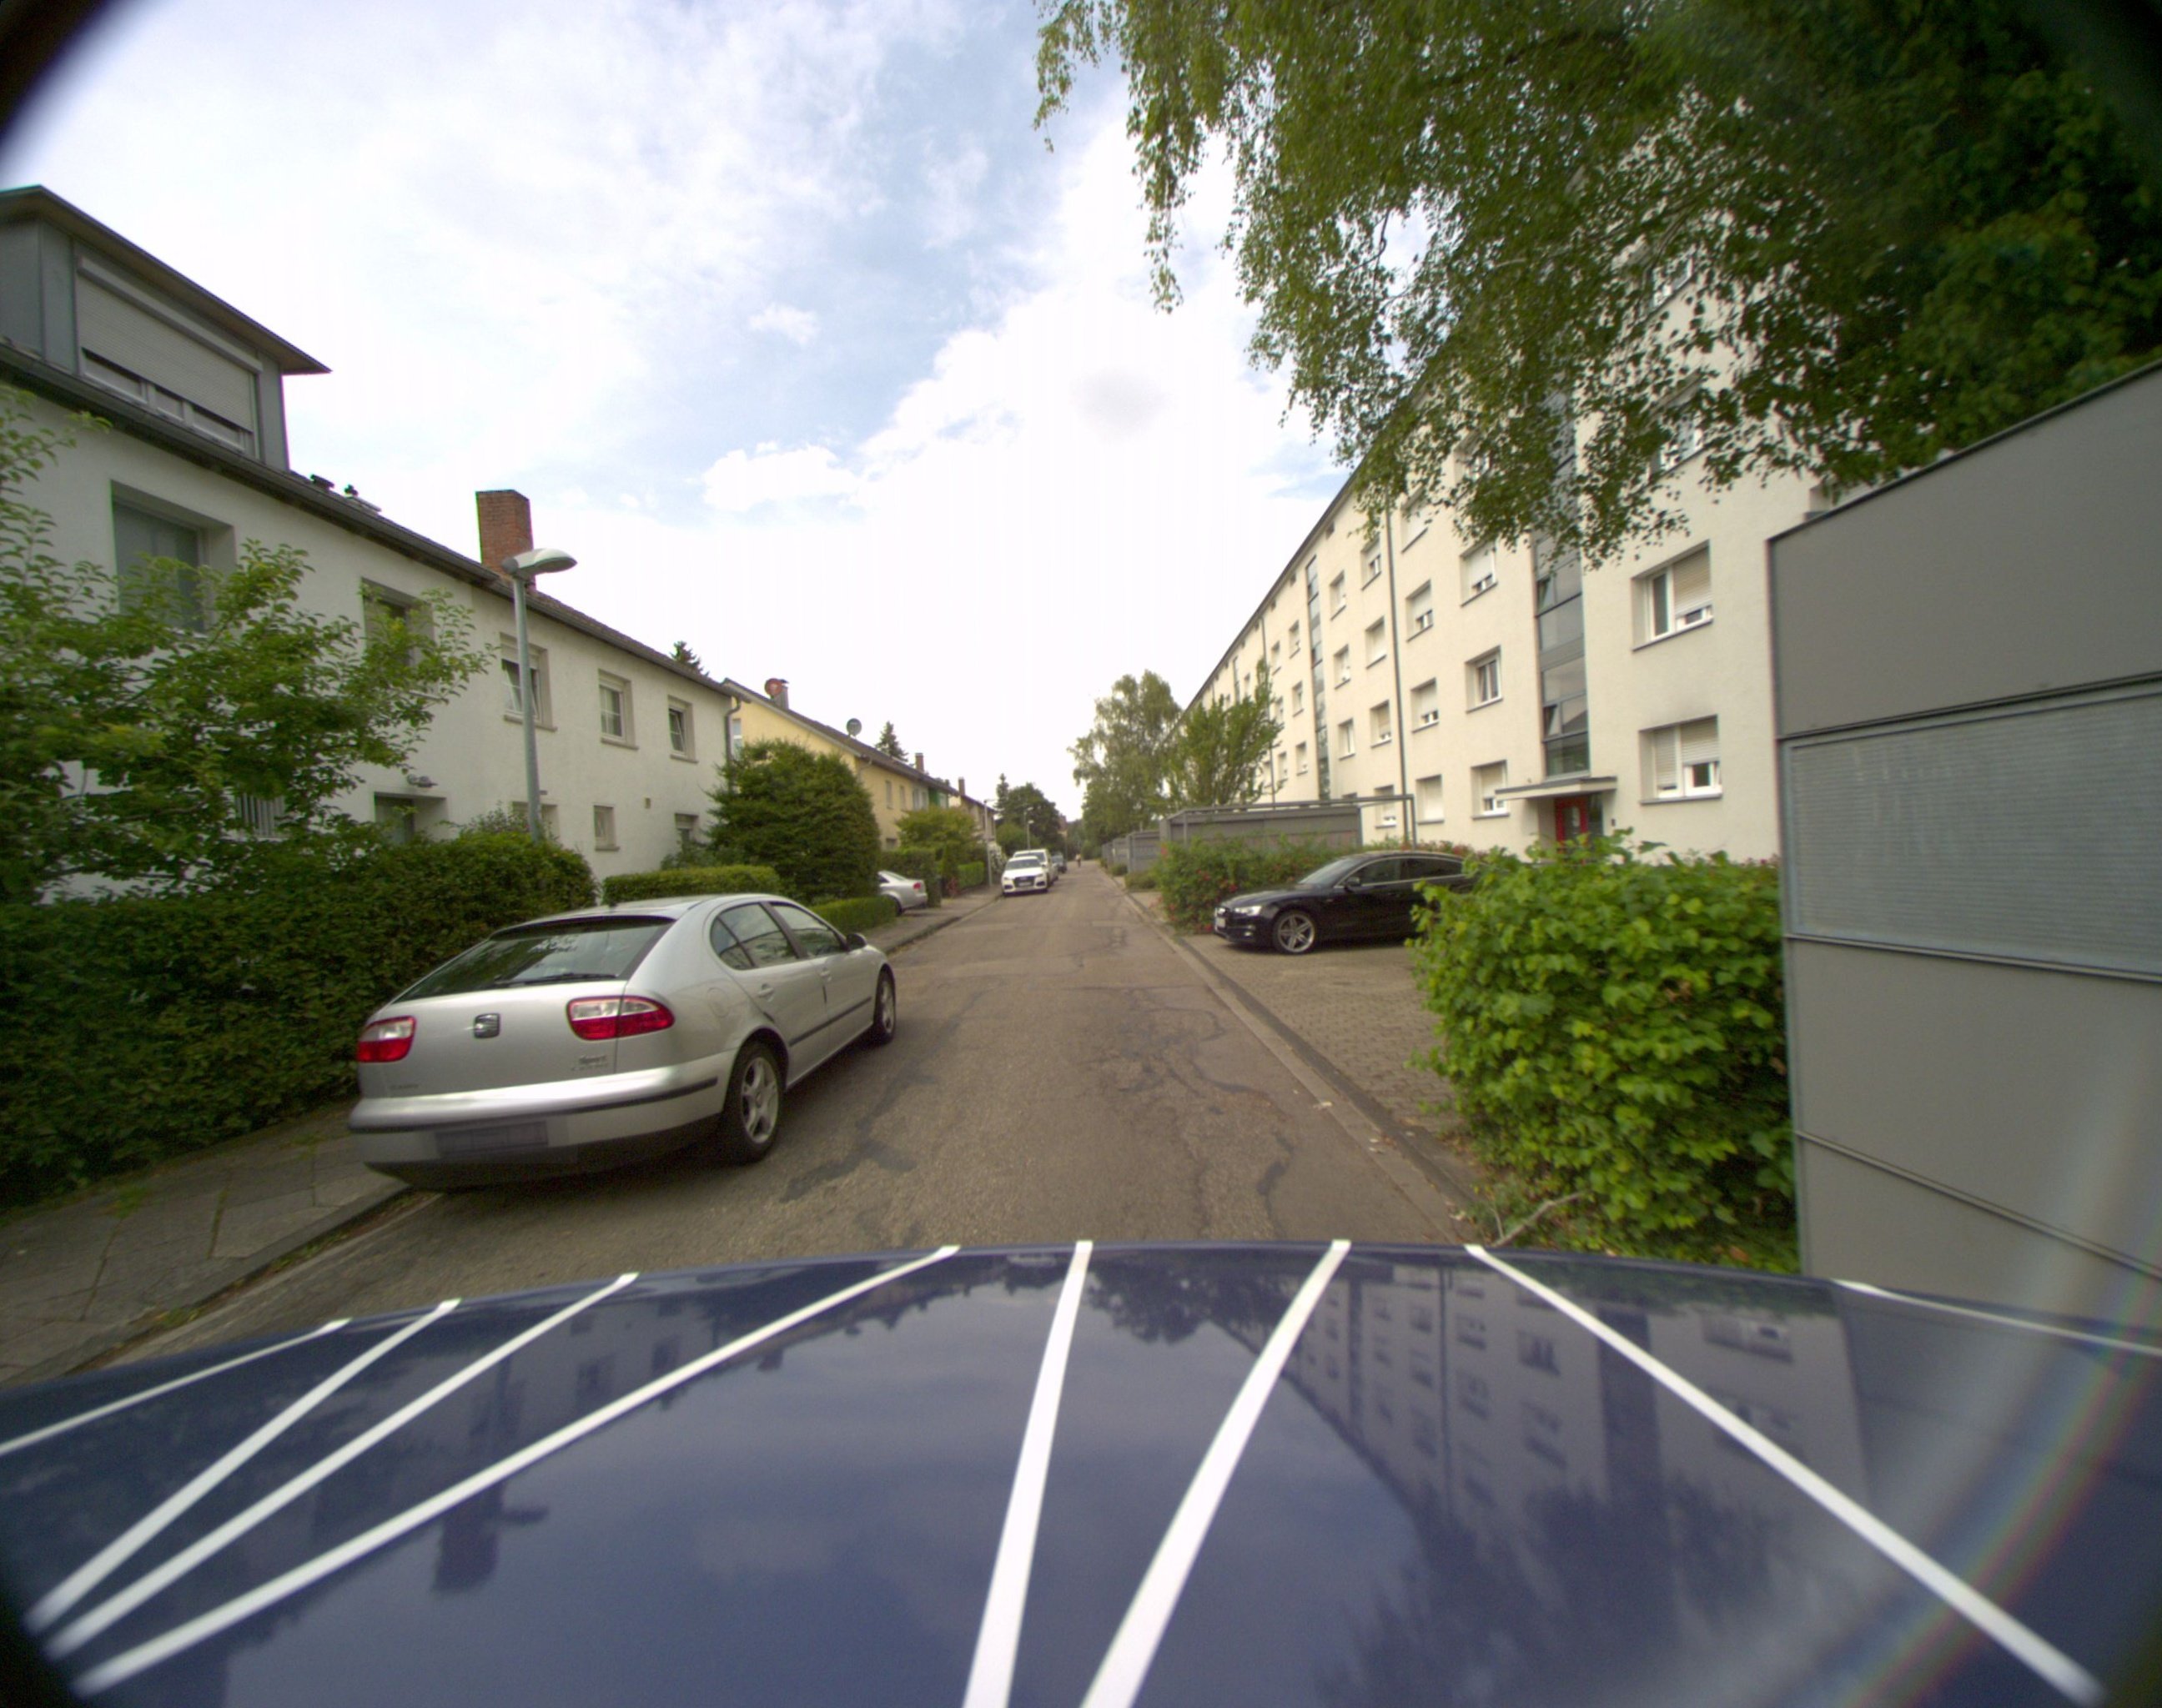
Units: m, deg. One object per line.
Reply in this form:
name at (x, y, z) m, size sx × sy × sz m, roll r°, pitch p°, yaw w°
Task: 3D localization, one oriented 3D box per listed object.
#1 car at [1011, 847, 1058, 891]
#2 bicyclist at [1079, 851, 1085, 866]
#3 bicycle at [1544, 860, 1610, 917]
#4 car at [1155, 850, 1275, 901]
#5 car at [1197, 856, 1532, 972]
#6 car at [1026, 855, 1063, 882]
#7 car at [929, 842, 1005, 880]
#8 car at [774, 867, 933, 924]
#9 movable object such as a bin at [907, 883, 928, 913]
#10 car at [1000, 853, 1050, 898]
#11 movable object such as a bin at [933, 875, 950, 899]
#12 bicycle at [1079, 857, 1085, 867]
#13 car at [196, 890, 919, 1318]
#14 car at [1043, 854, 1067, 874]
car at (-2.284, 0.708, 38.747) m, size 1.908 × 1.953 × 5.253 m, roll -5°, pitch 0°, yaw 0°
bicyclist at (0.127, 0.457, 83.234) m, size 0.598 × 1.572 × 0.767 m, roll -2°, pitch 1°, yaw 2°
bicycle at (9.107, 0.617, 13.938) m, size 1.389 × 0.951 × 0.393 m, roll -3°, pitch 1°, yaw -30°
car at (4.377, 0.670, 25.128) m, size 3.572 × 1.472 × 1.710 m, roll -2°, pitch 0°, yaw -4°
car at (4.155, 0.828, 11.596) m, size 4.337 × 1.368 × 1.922 m, roll -3°, pitch 0°, yaw -5°
car at (-2.208, 0.866, 46.737) m, size 1.788 × 1.412 × 4.455 m, roll -5°, pitch 0°, yaw 2°
car at (-8.264, 0.485, 55.340) m, size 5.100 × 2.527 × 2.238 m, roll -2°, pitch 1°, yaw 1°
car at (-6.431, 1.158, 21.857) m, size 4.032 × 1.419 × 1.852 m, roll -2°, pitch 0°, yaw -5°
movable object such as a bin at (-5.213, 1.406, 24.271) m, size 0.511 × 0.916 × 0.500 m, roll -4°, pitch 1°, yaw 0°
car at (-2.309, 0.844, 32.202) m, size 1.830 × 1.626 × 4.161 m, roll -5°, pitch 0°, yaw -2°
movable object such as a bin at (-5.398, 1.267, 29.395) m, size 0.511 × 0.863 × 0.529 m, roll -4°, pitch 1°, yaw 0°
bicycle at (0.143, 0.857, 83.254) m, size 0.598 × 1.070 × 2.042 m, roll -2°, pitch 1°, yaw 2°
car at (-2.601, 1.132, 5.268) m, size 1.829 × 1.362 × 4.330 m, roll -6°, pitch 0°, yaw 1°
car at (-2.132, 0.820, 63.458) m, size 1.834 × 1.449 × 4.189 m, roll -5°, pitch 0°, yaw -1°
